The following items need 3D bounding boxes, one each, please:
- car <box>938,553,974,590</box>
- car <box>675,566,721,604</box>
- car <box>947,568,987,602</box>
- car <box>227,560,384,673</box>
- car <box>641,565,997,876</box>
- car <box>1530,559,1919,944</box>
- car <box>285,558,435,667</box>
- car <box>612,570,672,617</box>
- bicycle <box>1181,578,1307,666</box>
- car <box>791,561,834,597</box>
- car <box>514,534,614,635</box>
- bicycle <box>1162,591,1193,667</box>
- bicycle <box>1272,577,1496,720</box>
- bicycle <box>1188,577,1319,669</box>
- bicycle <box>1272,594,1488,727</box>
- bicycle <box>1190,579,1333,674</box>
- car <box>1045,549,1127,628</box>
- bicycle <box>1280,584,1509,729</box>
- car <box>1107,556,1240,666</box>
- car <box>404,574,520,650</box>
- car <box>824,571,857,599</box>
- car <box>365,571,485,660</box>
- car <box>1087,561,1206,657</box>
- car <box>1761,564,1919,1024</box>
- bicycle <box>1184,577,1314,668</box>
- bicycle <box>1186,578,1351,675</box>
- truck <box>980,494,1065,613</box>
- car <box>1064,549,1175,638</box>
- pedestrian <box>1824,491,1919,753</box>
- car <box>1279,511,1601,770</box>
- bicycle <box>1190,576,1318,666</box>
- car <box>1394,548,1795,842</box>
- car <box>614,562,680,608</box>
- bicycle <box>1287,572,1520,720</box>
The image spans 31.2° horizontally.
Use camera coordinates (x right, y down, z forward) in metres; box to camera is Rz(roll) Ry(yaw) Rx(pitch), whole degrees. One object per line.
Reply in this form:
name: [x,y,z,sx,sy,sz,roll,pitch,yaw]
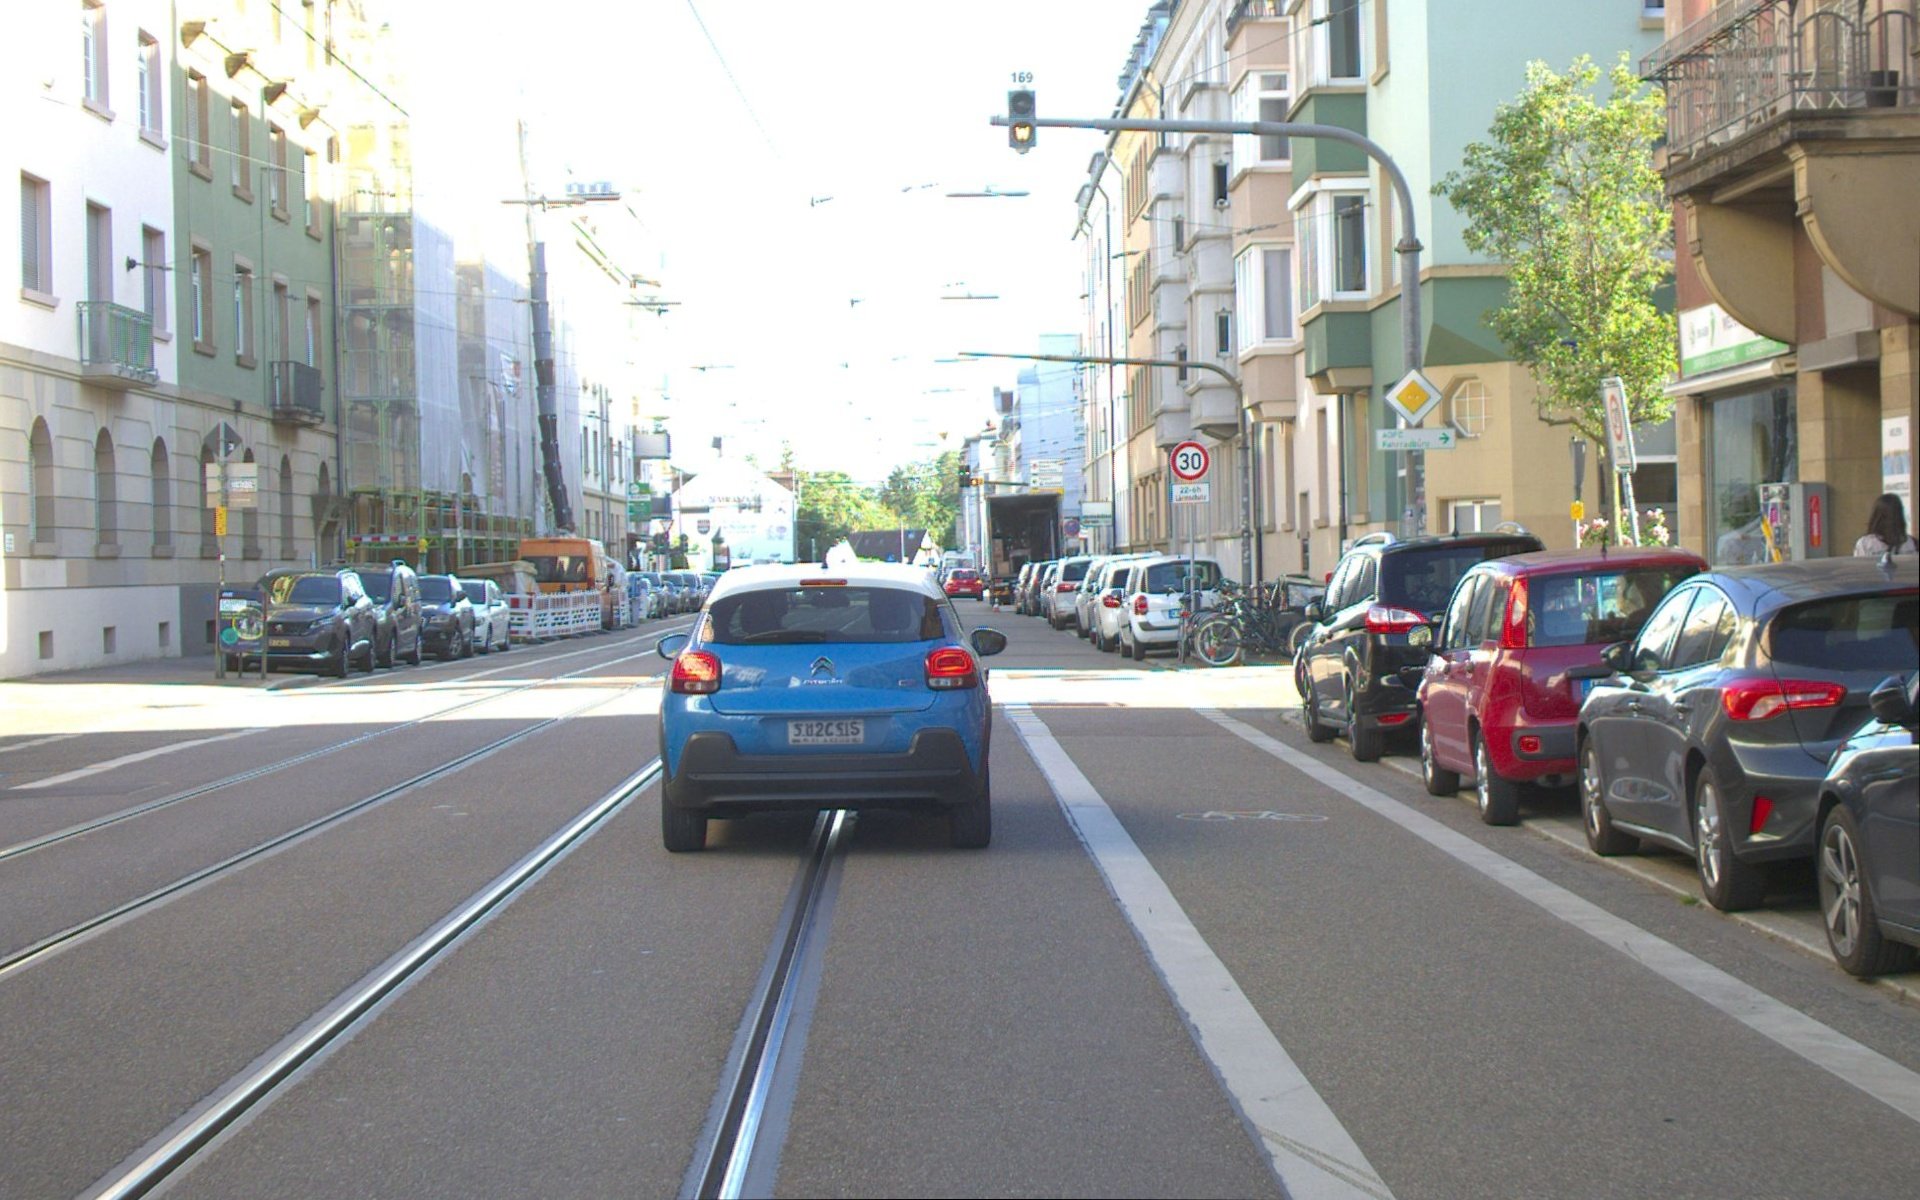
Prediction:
car: [-0.271,-1.821,217.381,2.220,2.276,4.084,-1,1,0]
car: [-11.858,-0.684,155.833,1.826,1.626,3.905,-1,1,-1]
car: [0.306,-0.692,158.655,1.765,1.481,4.031,-1,1,0]
car: [-10.304,0.231,54.401,1.783,1.684,4.668,1,1,-3]
car: [-0.707,0.575,18.915,1.735,1.502,3.992,1,1,0]
car: [3.887,0.582,16.011,1.654,1.508,4.474,-1,1,-1]
car: [-10.392,0.181,59.828,1.783,1.810,4.528,1,1,0]
car: [-11.270,-0.246,122.147,1.714,1.588,4.267,-1,1,0]
bicycle: [4.159,0.319,50.339,1.722,1.150,0.469,-5,1,0]
car: [-6.987,-1.002,163.030,1.826,1.626,4.490,-1,1,0]
car: [-10.223,-0.416,89.039,2.144,2.467,4.981,-2,1,-3]
bicycle: [3.126,0.411,49.516,0.353,1.041,1.728,-1,1,1]
bicycle: [3.903,0.443,31.727,1.959,1.223,0.527,-2,0,0]
bicycle: [4.137,0.322,48.490,1.722,1.150,0.469,-5,1,0]
bicycle: [3.938,0.567,32.308,1.923,1.157,0.527,-2,0,0]
bicycle: [4.138,0.366,47.253,1.843,1.150,0.469,-5,1,0]
car: [3.020,-0.292,83.281,1.730,1.821,4.686,-1,1,0]
bicycle: [3.931,0.508,31.167,1.959,1.223,0.527,-2,0,0]
car: [3.330,0.145,54.257,1.783,1.626,4.000,-1,1,0]
car: [-10.394,0.233,71.956,1.718,1.497,4.387,1,1,1]
car: [-7.377,-0.935,212.292,1.826,1.626,4.490,-1,1,0]
car: [-10.235,0.265,66.050,1.783,1.621,4.609,1,1,-3]
car: [3.224,0.124,60.095,1.783,1.570,4.326,-1,1,0]
car: [3.943,0.625,10.829,1.654,1.478,4.474,-1,1,-2]
bicycle: [4.114,0.316,49.038,1.722,1.150,0.469,-5,1,0]
bicycle: [4.165,0.349,46.565,2.086,1.150,0.848,-4,1,0]
truck: [2.229,-1.664,125.305,2.853,4.069,11.271,-1,1,1]
car: [3.268,-0.148,71.195,1.654,1.746,4.604,-2,1,-5]
pedestrian: [5.952,0.140,22.367,0.513,1.681,0.448,-1,1,-1]
car: [3.655,0.263,26.913,1.753,1.730,4.507,-4,1,0]
bicycle: [4.247,0.297,49.717,1.722,1.150,0.469,-5,1,0]
car: [3.743,0.504,20.873,1.753,1.589,3.729,-1,1,1]
car: [-11.821,-0.577,129.983,2.144,1.616,4.000,-2,1,-1]
bicycle: [3.940,0.405,30.594,1.959,1.223,0.527,-2,0,0]
